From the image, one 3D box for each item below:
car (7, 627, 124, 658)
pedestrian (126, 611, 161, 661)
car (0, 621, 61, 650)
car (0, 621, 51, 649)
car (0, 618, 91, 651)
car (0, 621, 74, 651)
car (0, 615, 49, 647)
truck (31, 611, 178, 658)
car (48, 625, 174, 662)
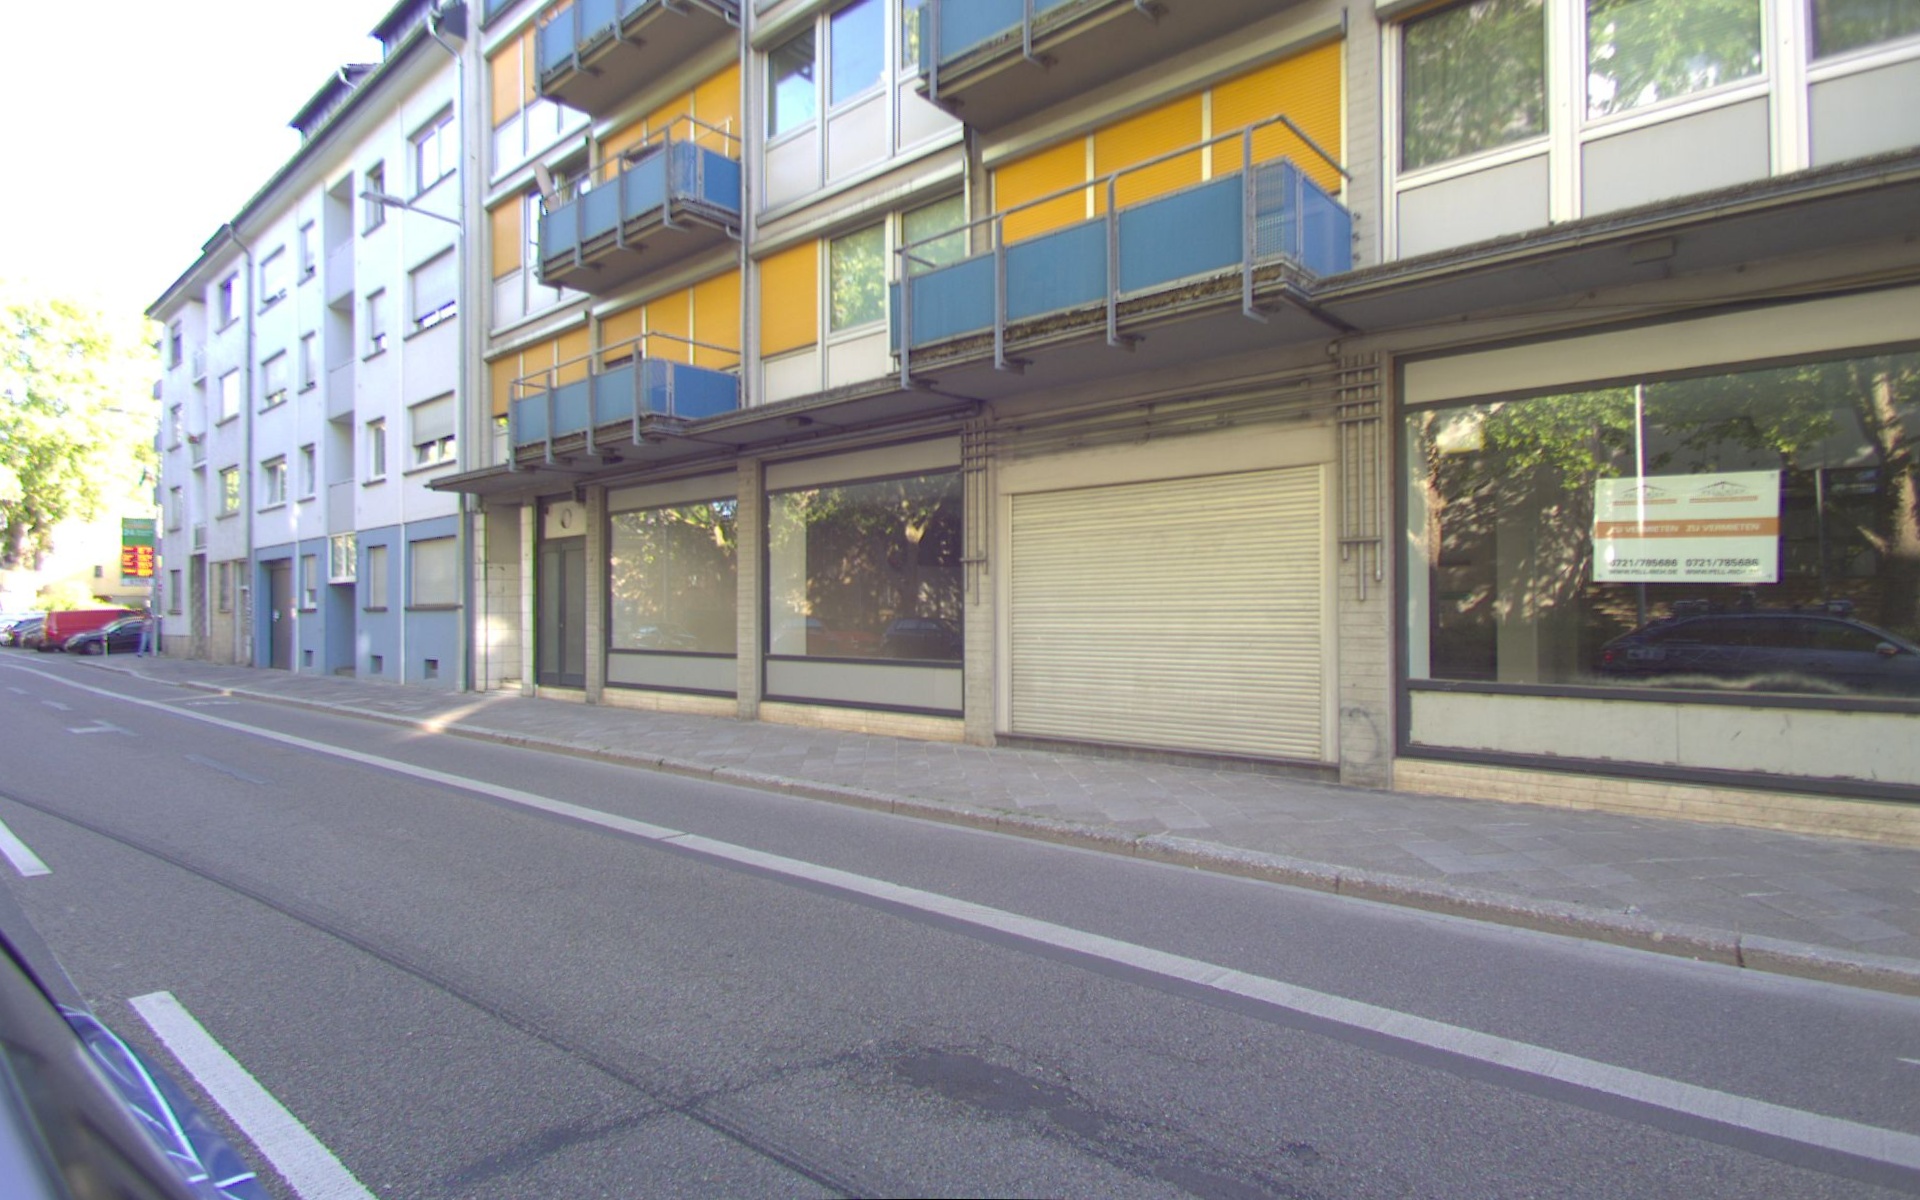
[{"bbox_3d":[-43.089,2.022,48.789,1.904,1.282,3.983,-1,0,39],"label":"car"},{"bbox_3d":[-29.893,1.313,37.042,0.741,1.785,0.884,-1,0,41],"label":"pedestrian"},{"bbox_3d":[-55.067,2.066,59.004,1.715,1.594,3.660,-1,0,35],"label":"car"},{"bbox_3d":[-56.888,2.106,60.396,1.740,1.600,3.685,-1,0,35],"label":"car"},{"bbox_3d":[-50.823,1.881,55.971,1.699,1.640,3.952,-1,0,35],"label":"car"},{"bbox_3d":[-52.883,2.021,57.475,1.656,1.599,3.615,-1,0,35],"label":"car"},{"bbox_3d":[-59.727,1.951,63.807,1.693,1.953,3.224,-1,0,43],"label":"car"},{"bbox_3d":[-40.350,1.567,47.839,1.998,2.036,5.024,-1,0,40],"label":"truck"},{"bbox_3d":[-36.739,1.835,43.874,1.780,1.404,3.947,-1,0,39],"label":"car"}]
